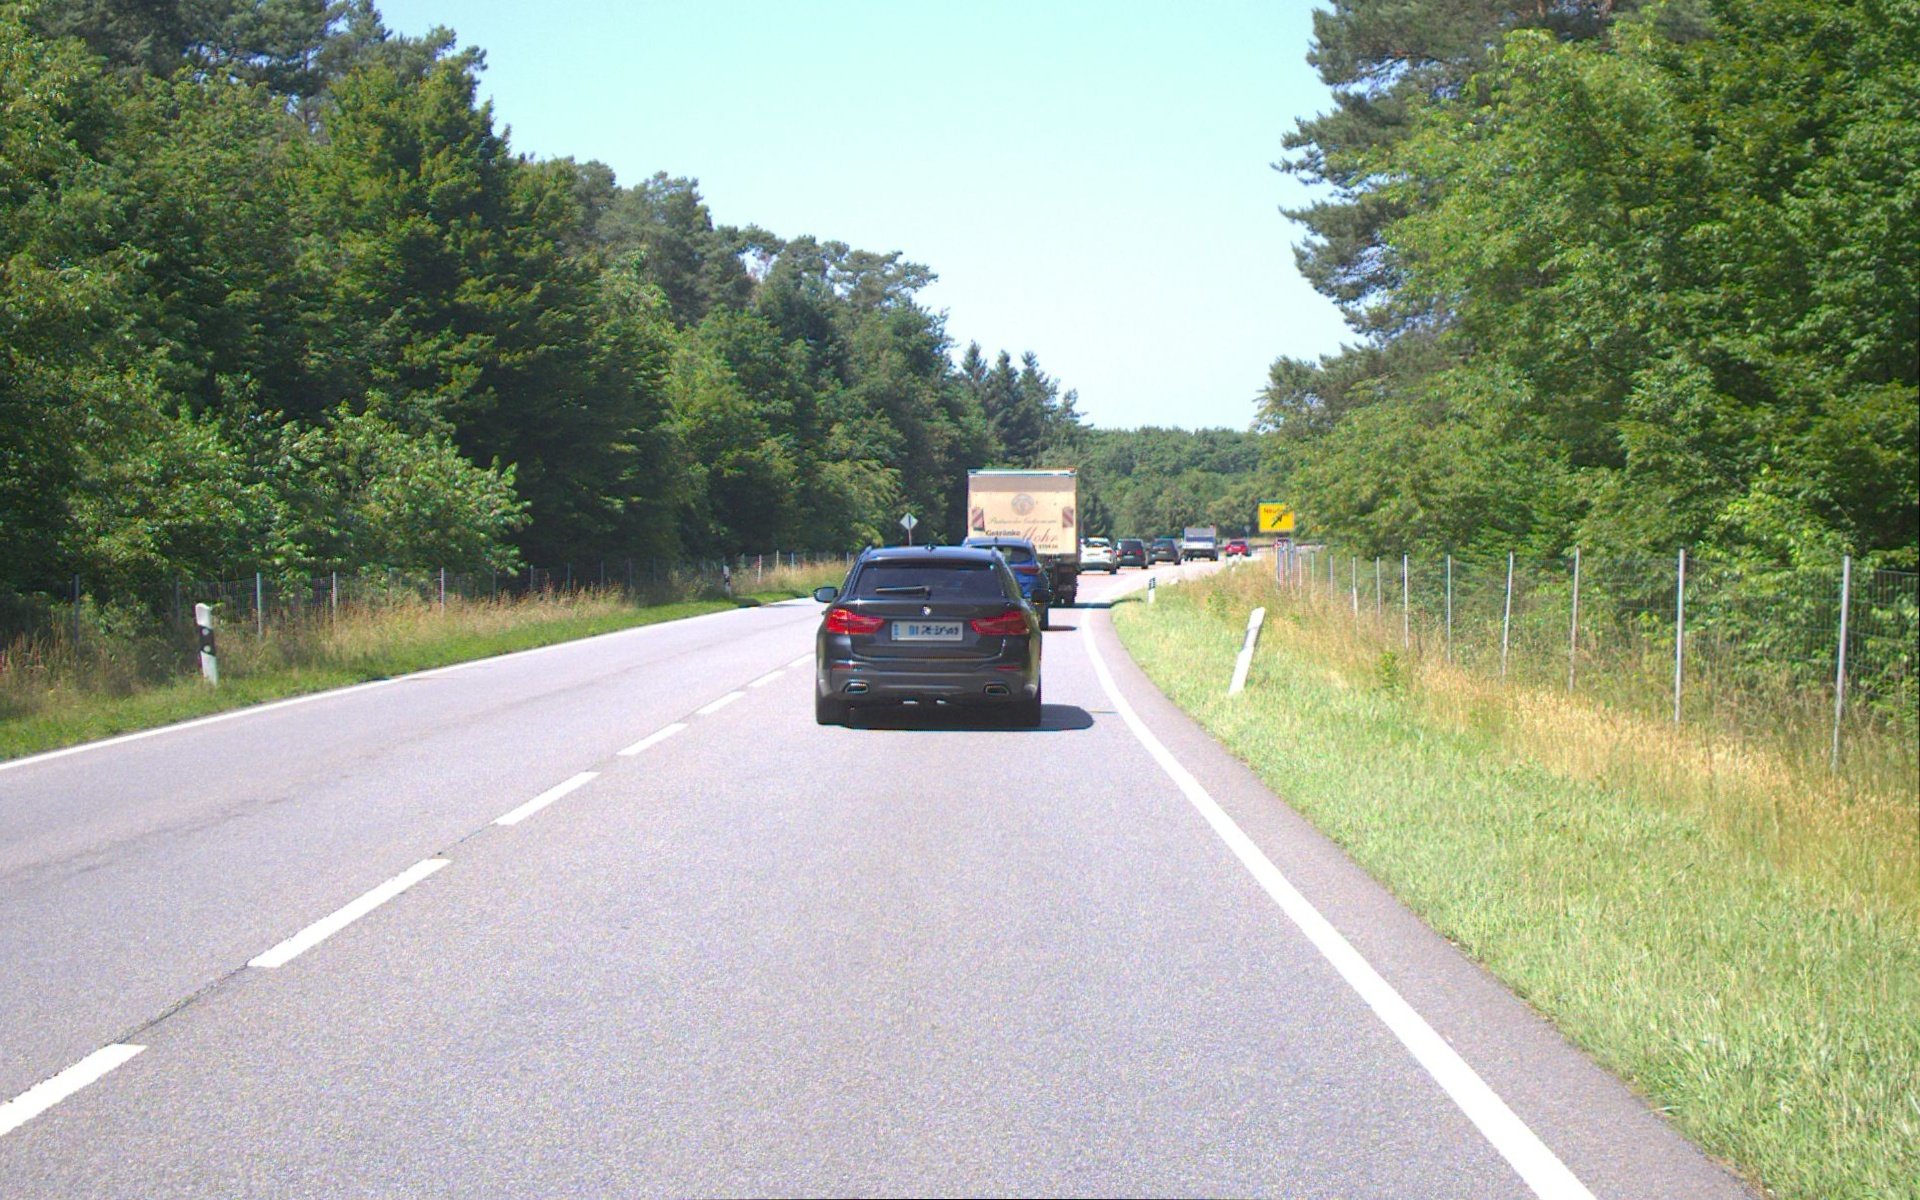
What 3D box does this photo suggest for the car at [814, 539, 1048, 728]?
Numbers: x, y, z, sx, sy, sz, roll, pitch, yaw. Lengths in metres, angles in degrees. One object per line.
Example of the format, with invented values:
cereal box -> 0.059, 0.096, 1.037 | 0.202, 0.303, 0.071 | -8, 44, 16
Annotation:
car -> -0.315, 0.226, 29.173 | 1.820, 1.465, 4.001 | -1, 1, -3

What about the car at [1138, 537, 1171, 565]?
car -> 12.034, -3.049, 212.815 | 1.994, 1.631, 4.000 | -1, 1, 4

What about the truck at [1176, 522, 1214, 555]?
truck -> 16.376, -4.278, 239.538 | 2.564, 2.194, 4.973 | -1, 2, 5

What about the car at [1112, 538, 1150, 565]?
car -> 9.337, -2.653, 187.956 | 1.994, 1.415, 4.000 | 1, 1, 4

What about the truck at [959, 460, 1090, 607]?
truck -> 1.605, -1.616, 82.705 | 2.966, 3.376, 6.438 | 0, 1, 3

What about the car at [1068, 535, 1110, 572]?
car -> 5.803, -2.100, 154.975 | 1.863, 1.600, 4.000 | -1, 1, 2

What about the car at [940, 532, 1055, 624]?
car -> 0.642, -0.418, 61.137 | 1.947, 1.536, 4.000 | -1, 1, 0
